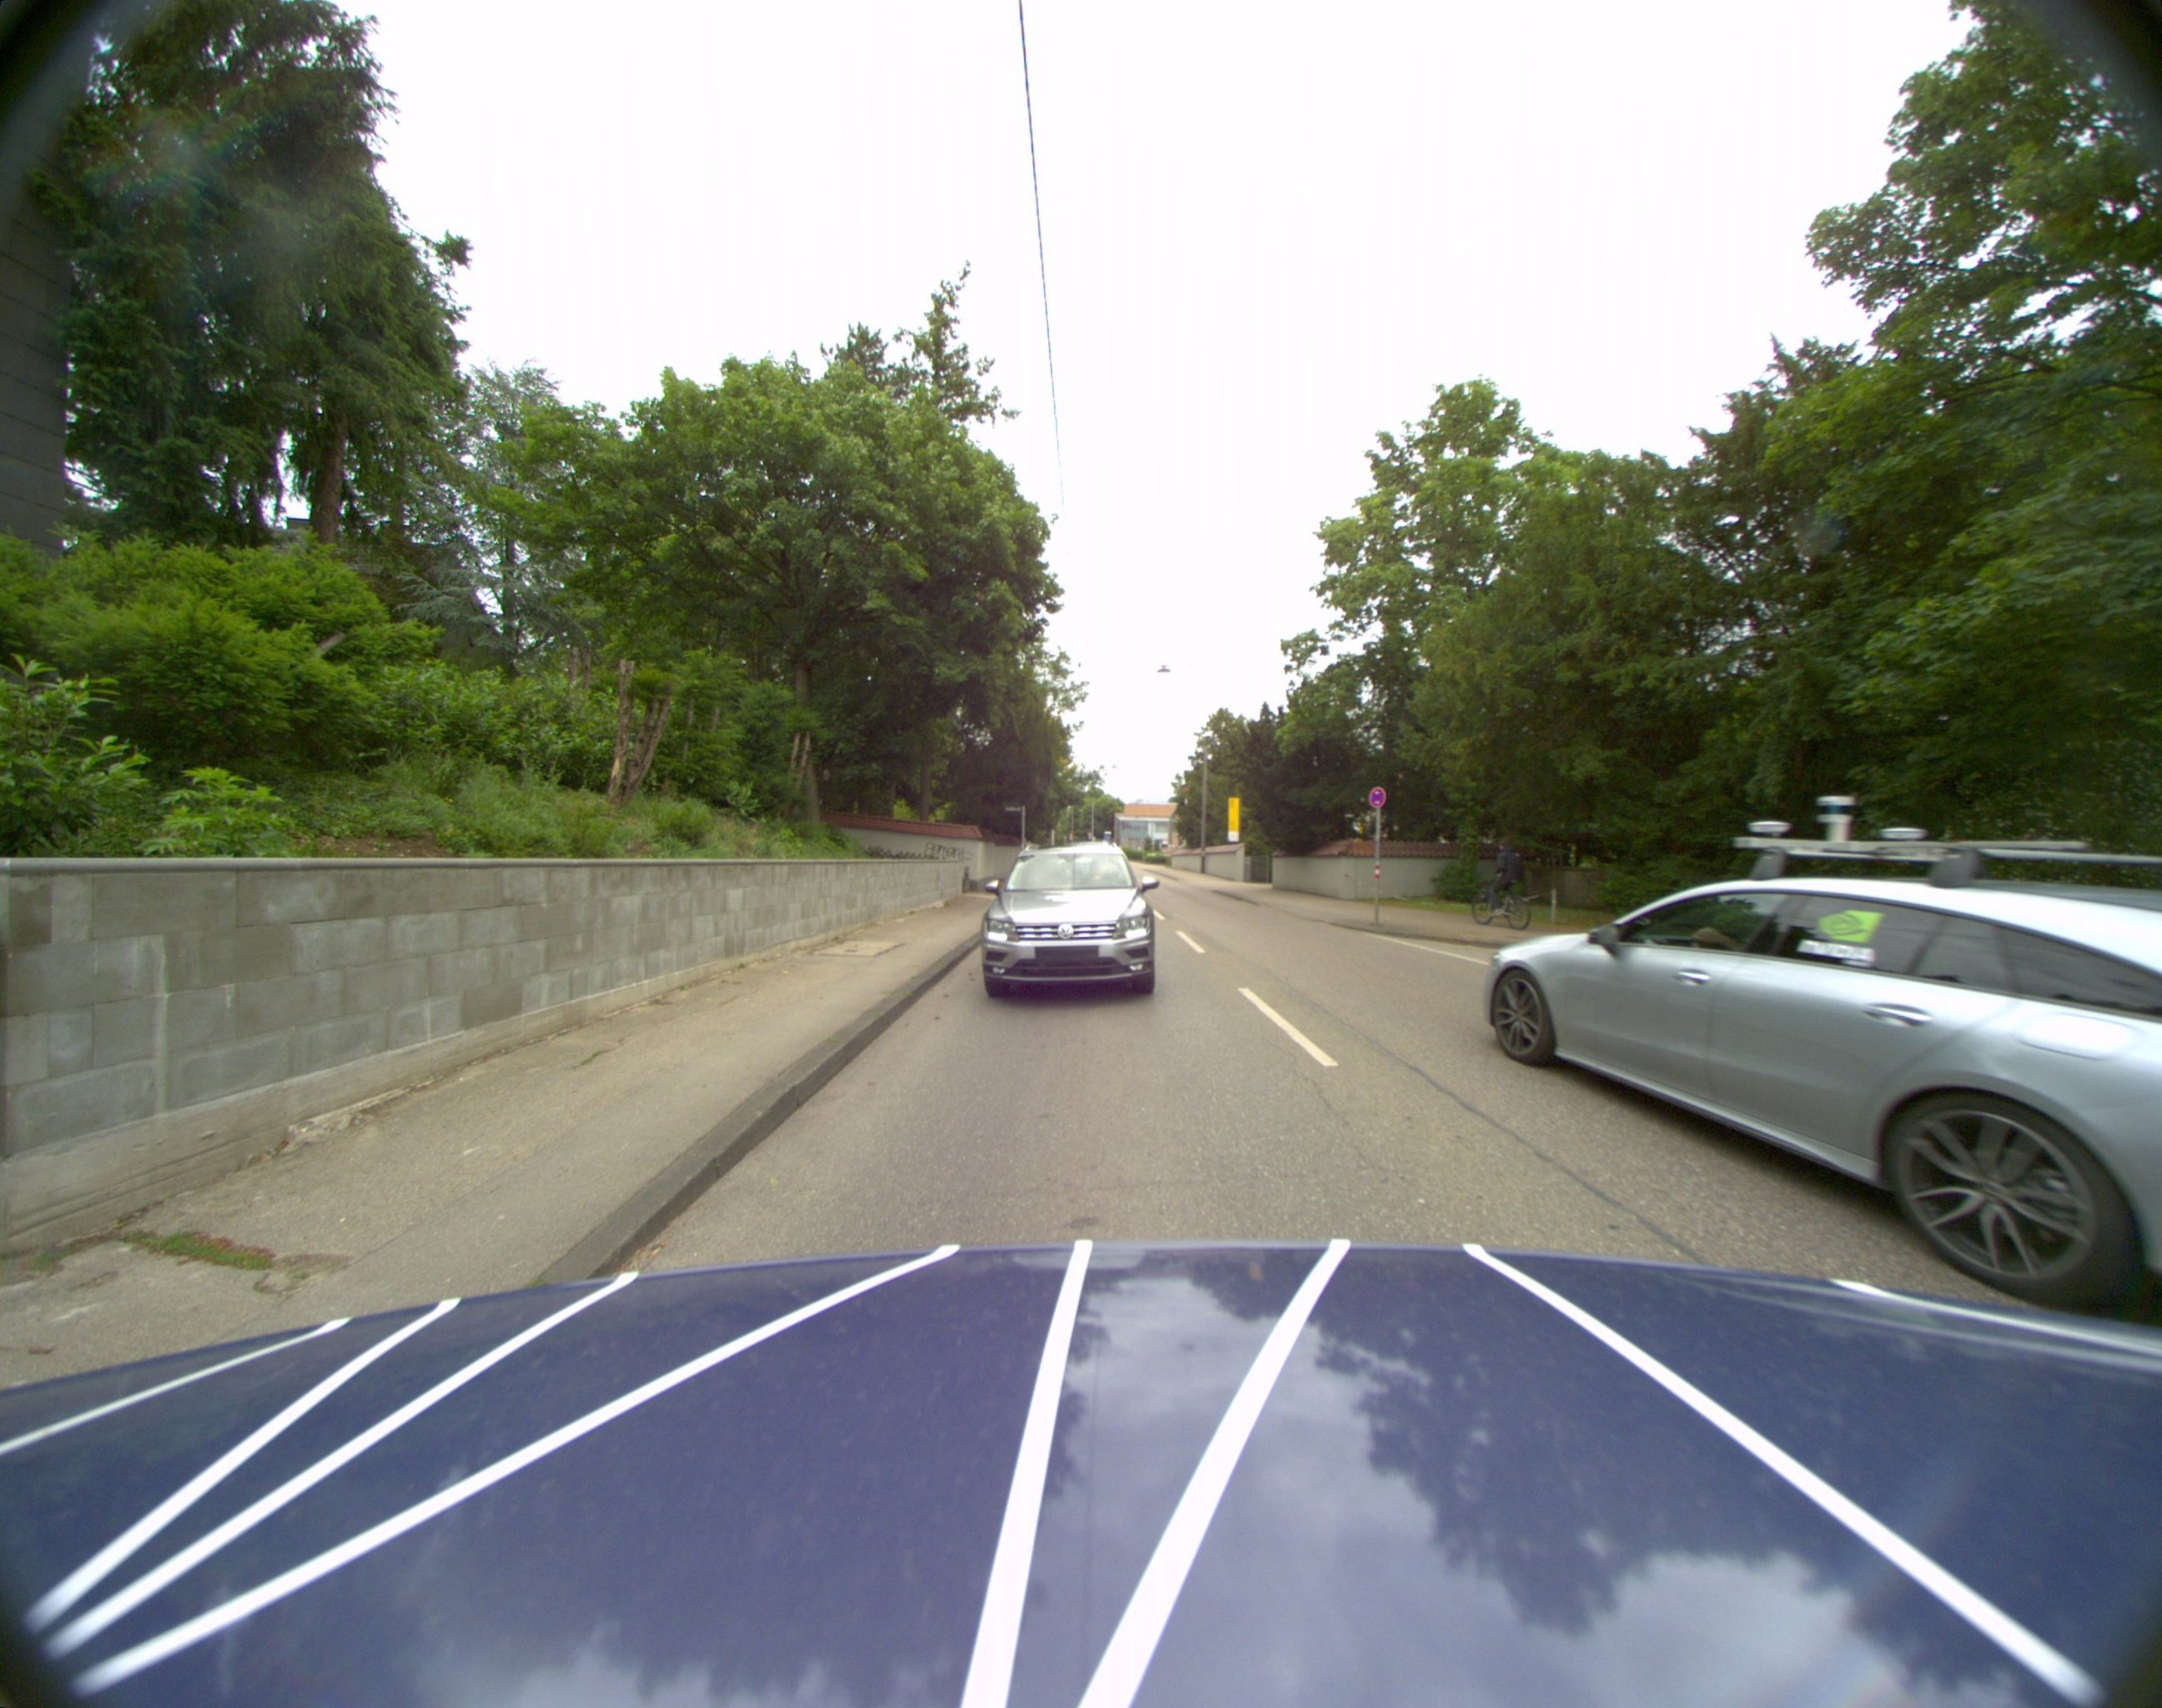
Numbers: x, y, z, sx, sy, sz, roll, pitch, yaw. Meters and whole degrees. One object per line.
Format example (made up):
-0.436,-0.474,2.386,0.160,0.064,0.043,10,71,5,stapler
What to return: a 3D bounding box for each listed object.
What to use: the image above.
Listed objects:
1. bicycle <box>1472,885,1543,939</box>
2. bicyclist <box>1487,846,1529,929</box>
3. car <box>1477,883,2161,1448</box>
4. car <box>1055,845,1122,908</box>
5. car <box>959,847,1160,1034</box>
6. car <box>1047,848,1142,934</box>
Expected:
8.845,1.174,15.820,0.496,0.959,1.748,-3,1,1,bicycle
8.821,0.677,15.720,0.489,1.674,0.588,-3,1,1,bicyclist
3.910,0.978,3.524,1.761,1.395,4.413,3,1,0,car
0.219,0.592,23.084,1.820,1.733,4.487,0,1,0,car
-0.180,0.790,9.423,1.820,1.690,4.718,-2,1,0,car
0.279,0.703,16.962,1.820,1.647,4.487,0,1,0,car
